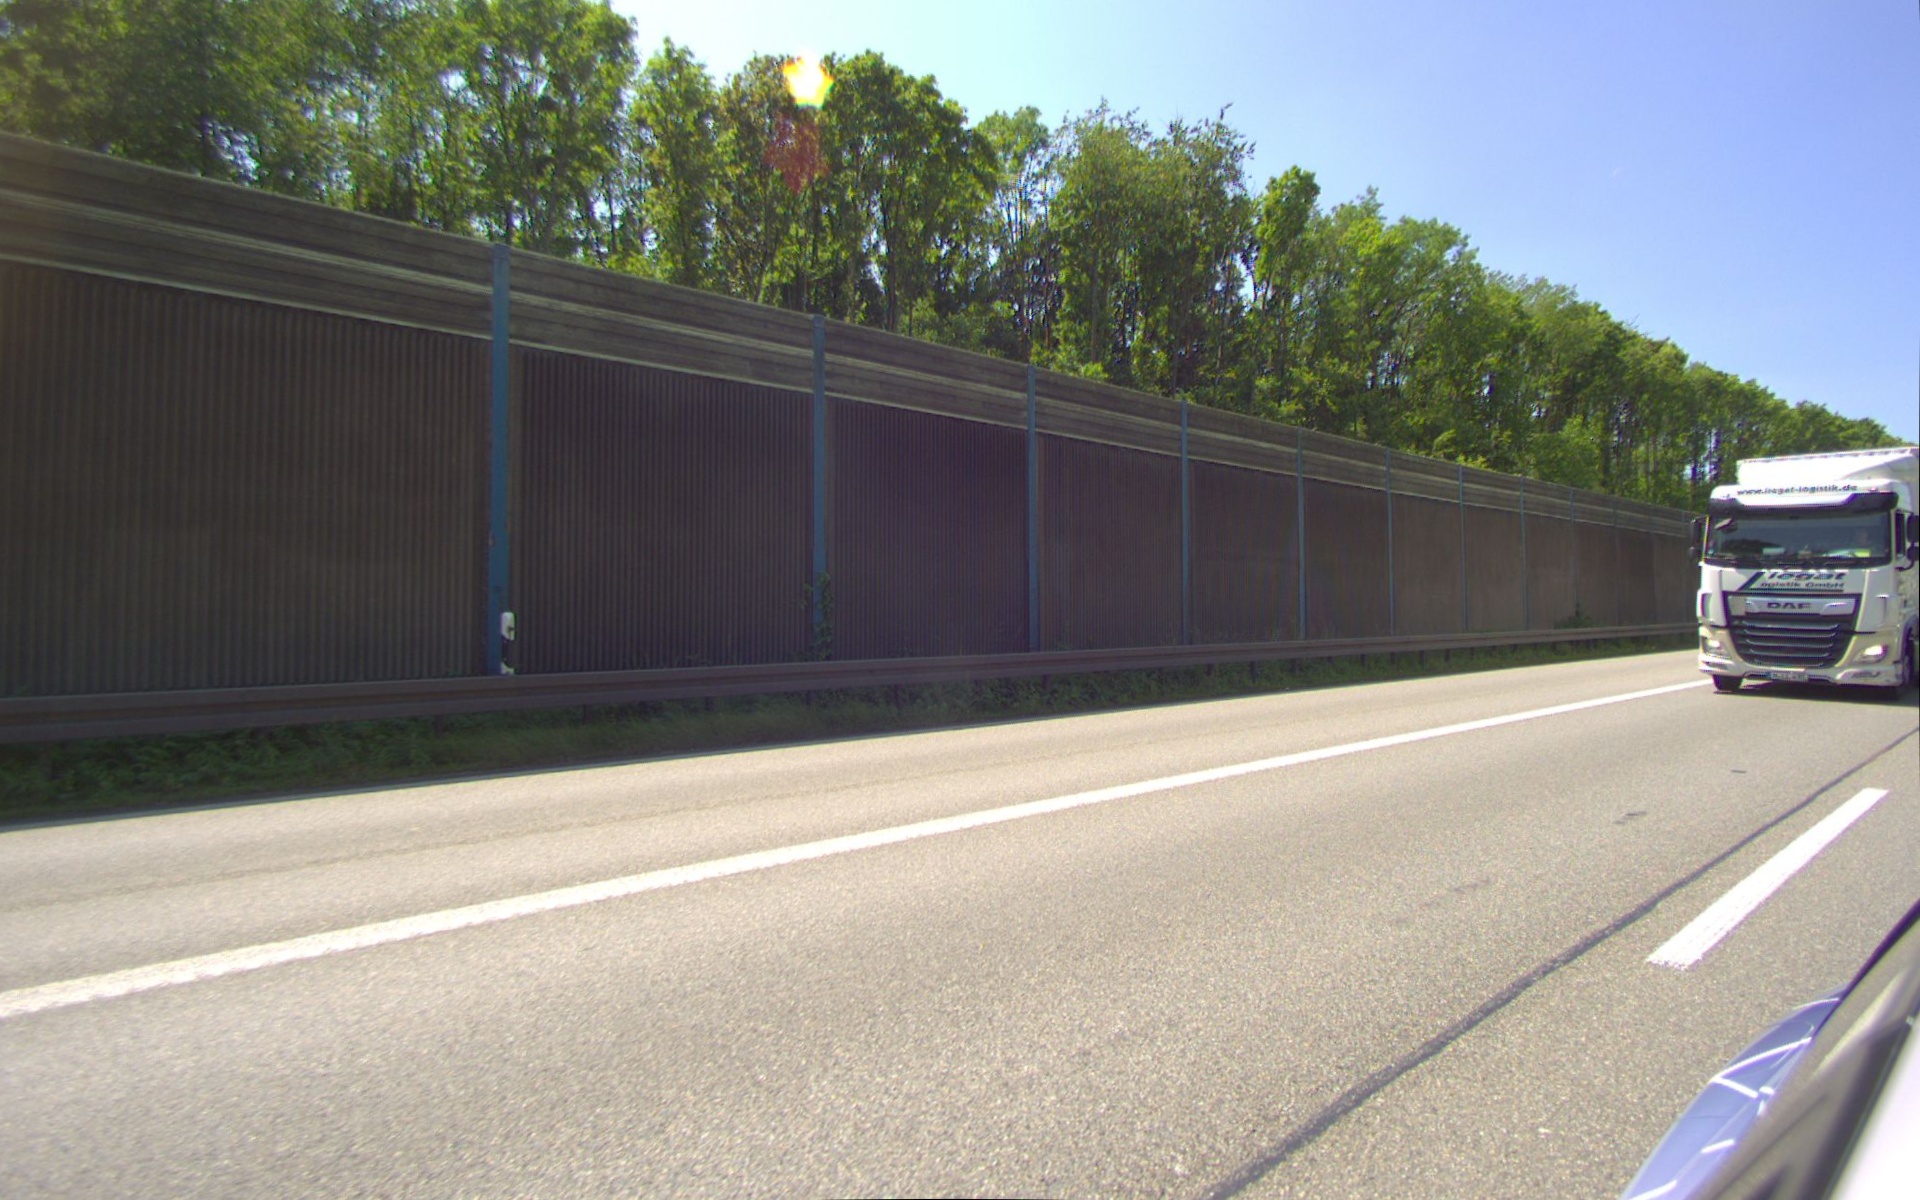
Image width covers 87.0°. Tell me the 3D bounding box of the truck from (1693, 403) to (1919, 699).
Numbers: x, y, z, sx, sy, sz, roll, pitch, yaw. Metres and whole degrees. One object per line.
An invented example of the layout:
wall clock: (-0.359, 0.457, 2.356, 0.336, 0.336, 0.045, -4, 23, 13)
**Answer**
truck: (15.153, -0.700, 17.469, 5.766, 4.258, 2.791, 1, -1, -41)

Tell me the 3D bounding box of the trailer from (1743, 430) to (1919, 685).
trailer: (20.309, -0.691, 21.911, 13.010, 4.258, 2.791, 0, 0, -41)
